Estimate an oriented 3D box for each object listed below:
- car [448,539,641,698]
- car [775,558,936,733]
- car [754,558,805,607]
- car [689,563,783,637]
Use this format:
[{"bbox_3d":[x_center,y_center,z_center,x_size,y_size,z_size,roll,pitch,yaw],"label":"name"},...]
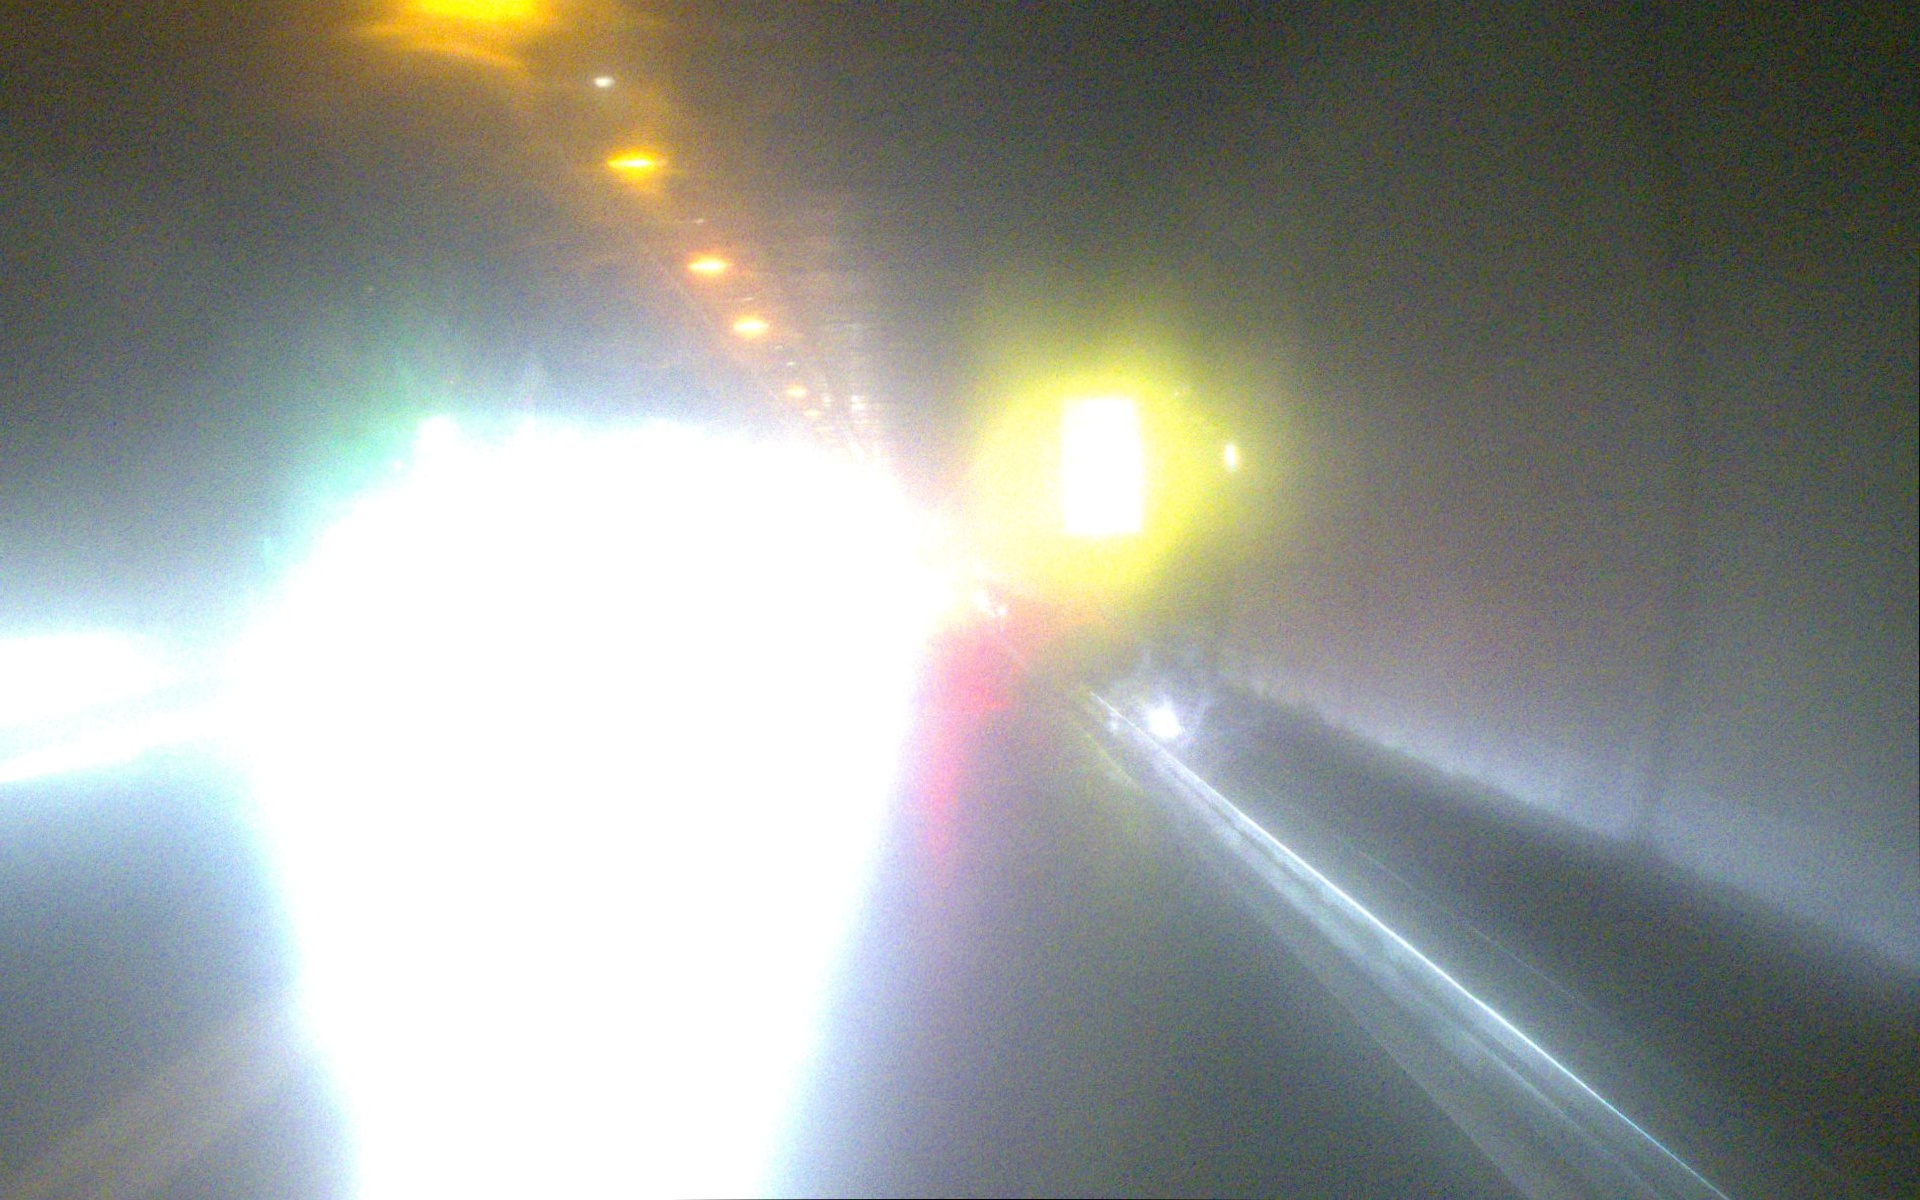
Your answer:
[{"bbox_3d":[-4.593,0.162,38.458,1.697,1.670,4.127,0,1,-1],"label":"car"},{"bbox_3d":[-1.091,0.439,37.117,1.635,1.752,4.146,0,1,-1],"label":"car"},{"bbox_3d":[-5.985,-0.594,114.143,1.520,1.544,4.054,0,2,-1],"label":"car"},{"bbox_3d":[-4.730,-0.022,73.102,1.748,1.475,4.476,0,1,-1],"label":"car"}]
